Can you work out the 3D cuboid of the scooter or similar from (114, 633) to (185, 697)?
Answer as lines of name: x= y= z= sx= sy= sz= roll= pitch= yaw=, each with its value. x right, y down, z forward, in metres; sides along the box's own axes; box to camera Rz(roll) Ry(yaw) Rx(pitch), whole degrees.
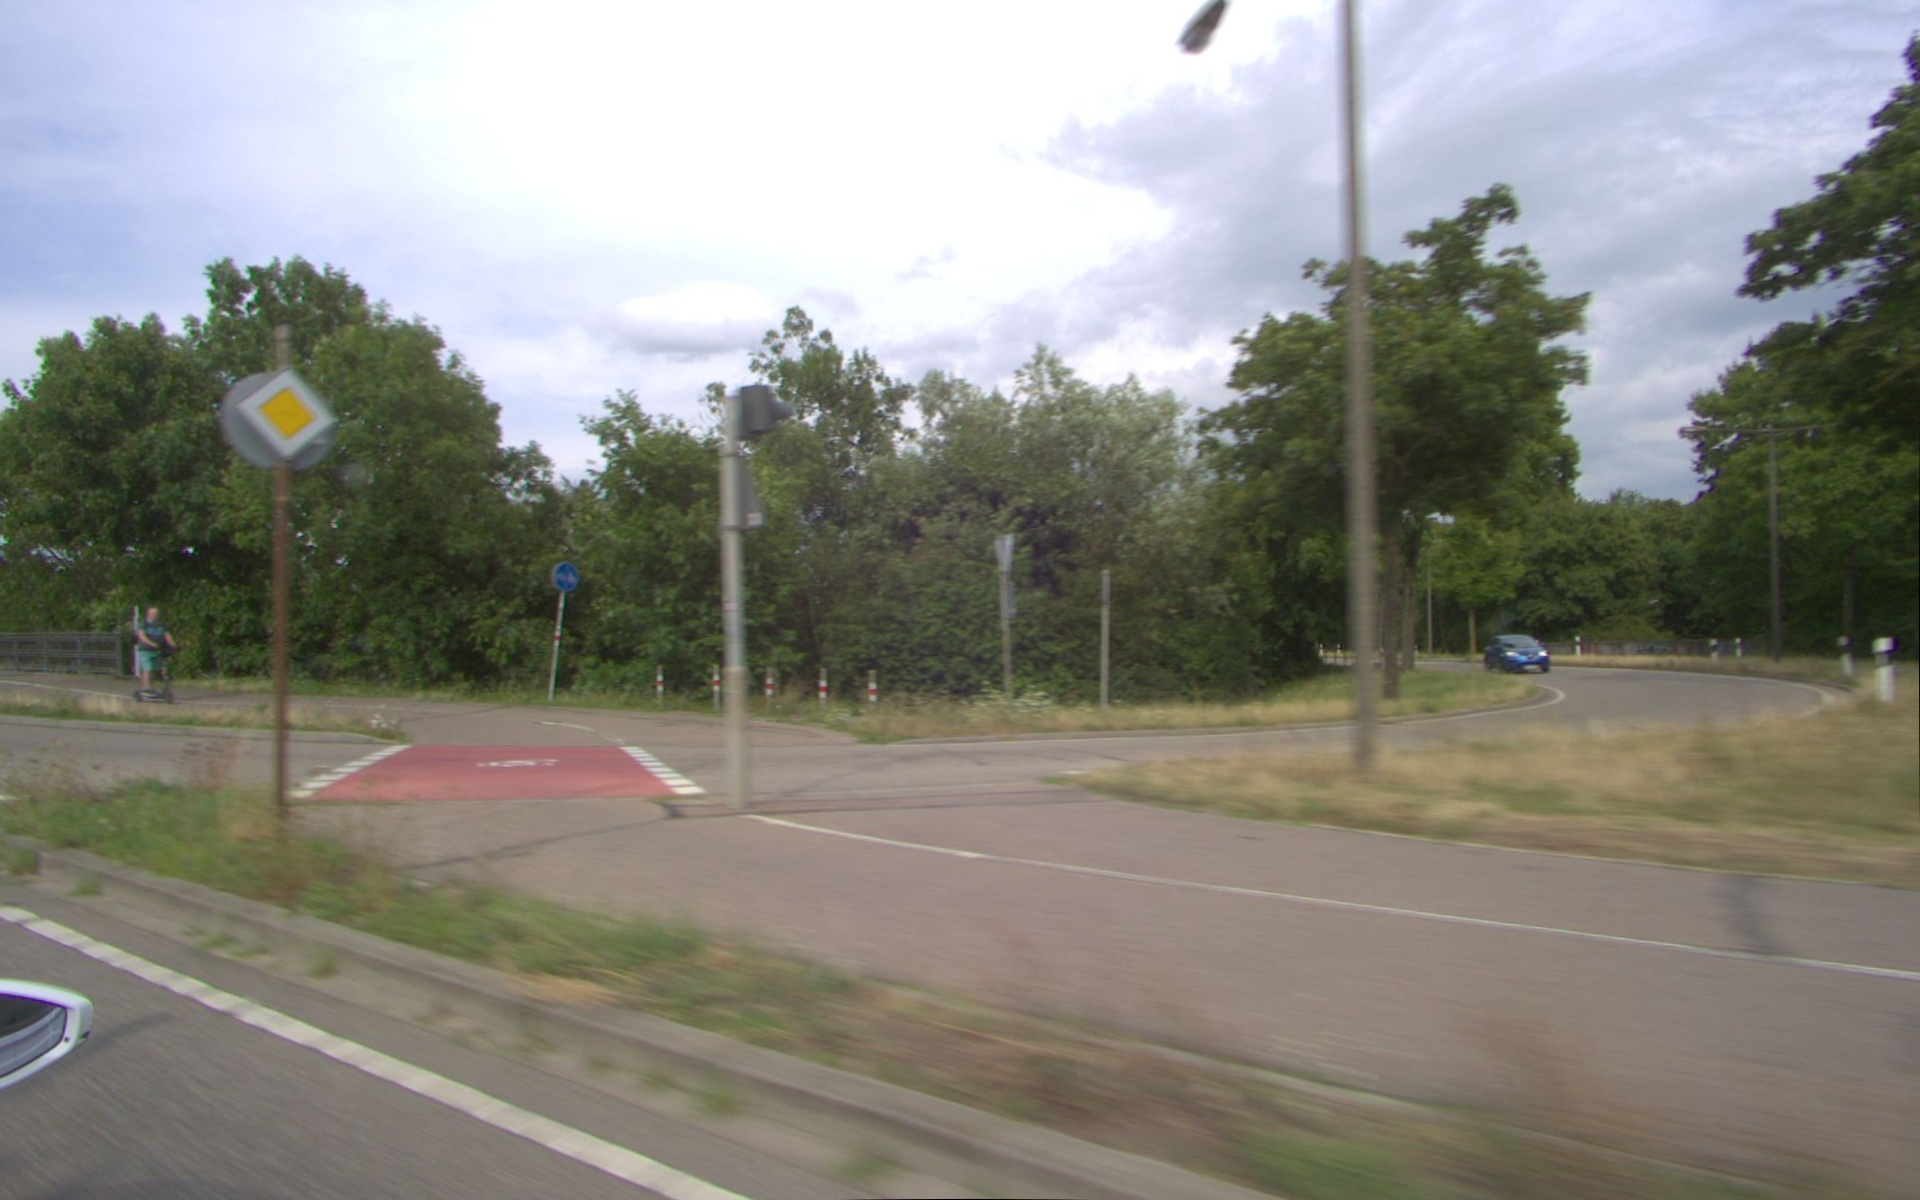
scooter or similar: x=-15.957 y=1.267 z=19.717 sx=1.182 sy=1.240 sz=0.588 roll=-1 pitch=-2 yaw=23

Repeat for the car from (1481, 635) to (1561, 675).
car: x=23.012 y=2.232 z=41.239 sx=1.845 sy=1.537 sz=3.998 roll=0 pitch=-2 yaw=14

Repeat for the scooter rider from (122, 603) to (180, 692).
scooter rider: x=-15.915 y=0.922 z=19.703 sx=0.731 sy=1.712 sz=0.588 roll=0 pitch=-1 yaw=23
